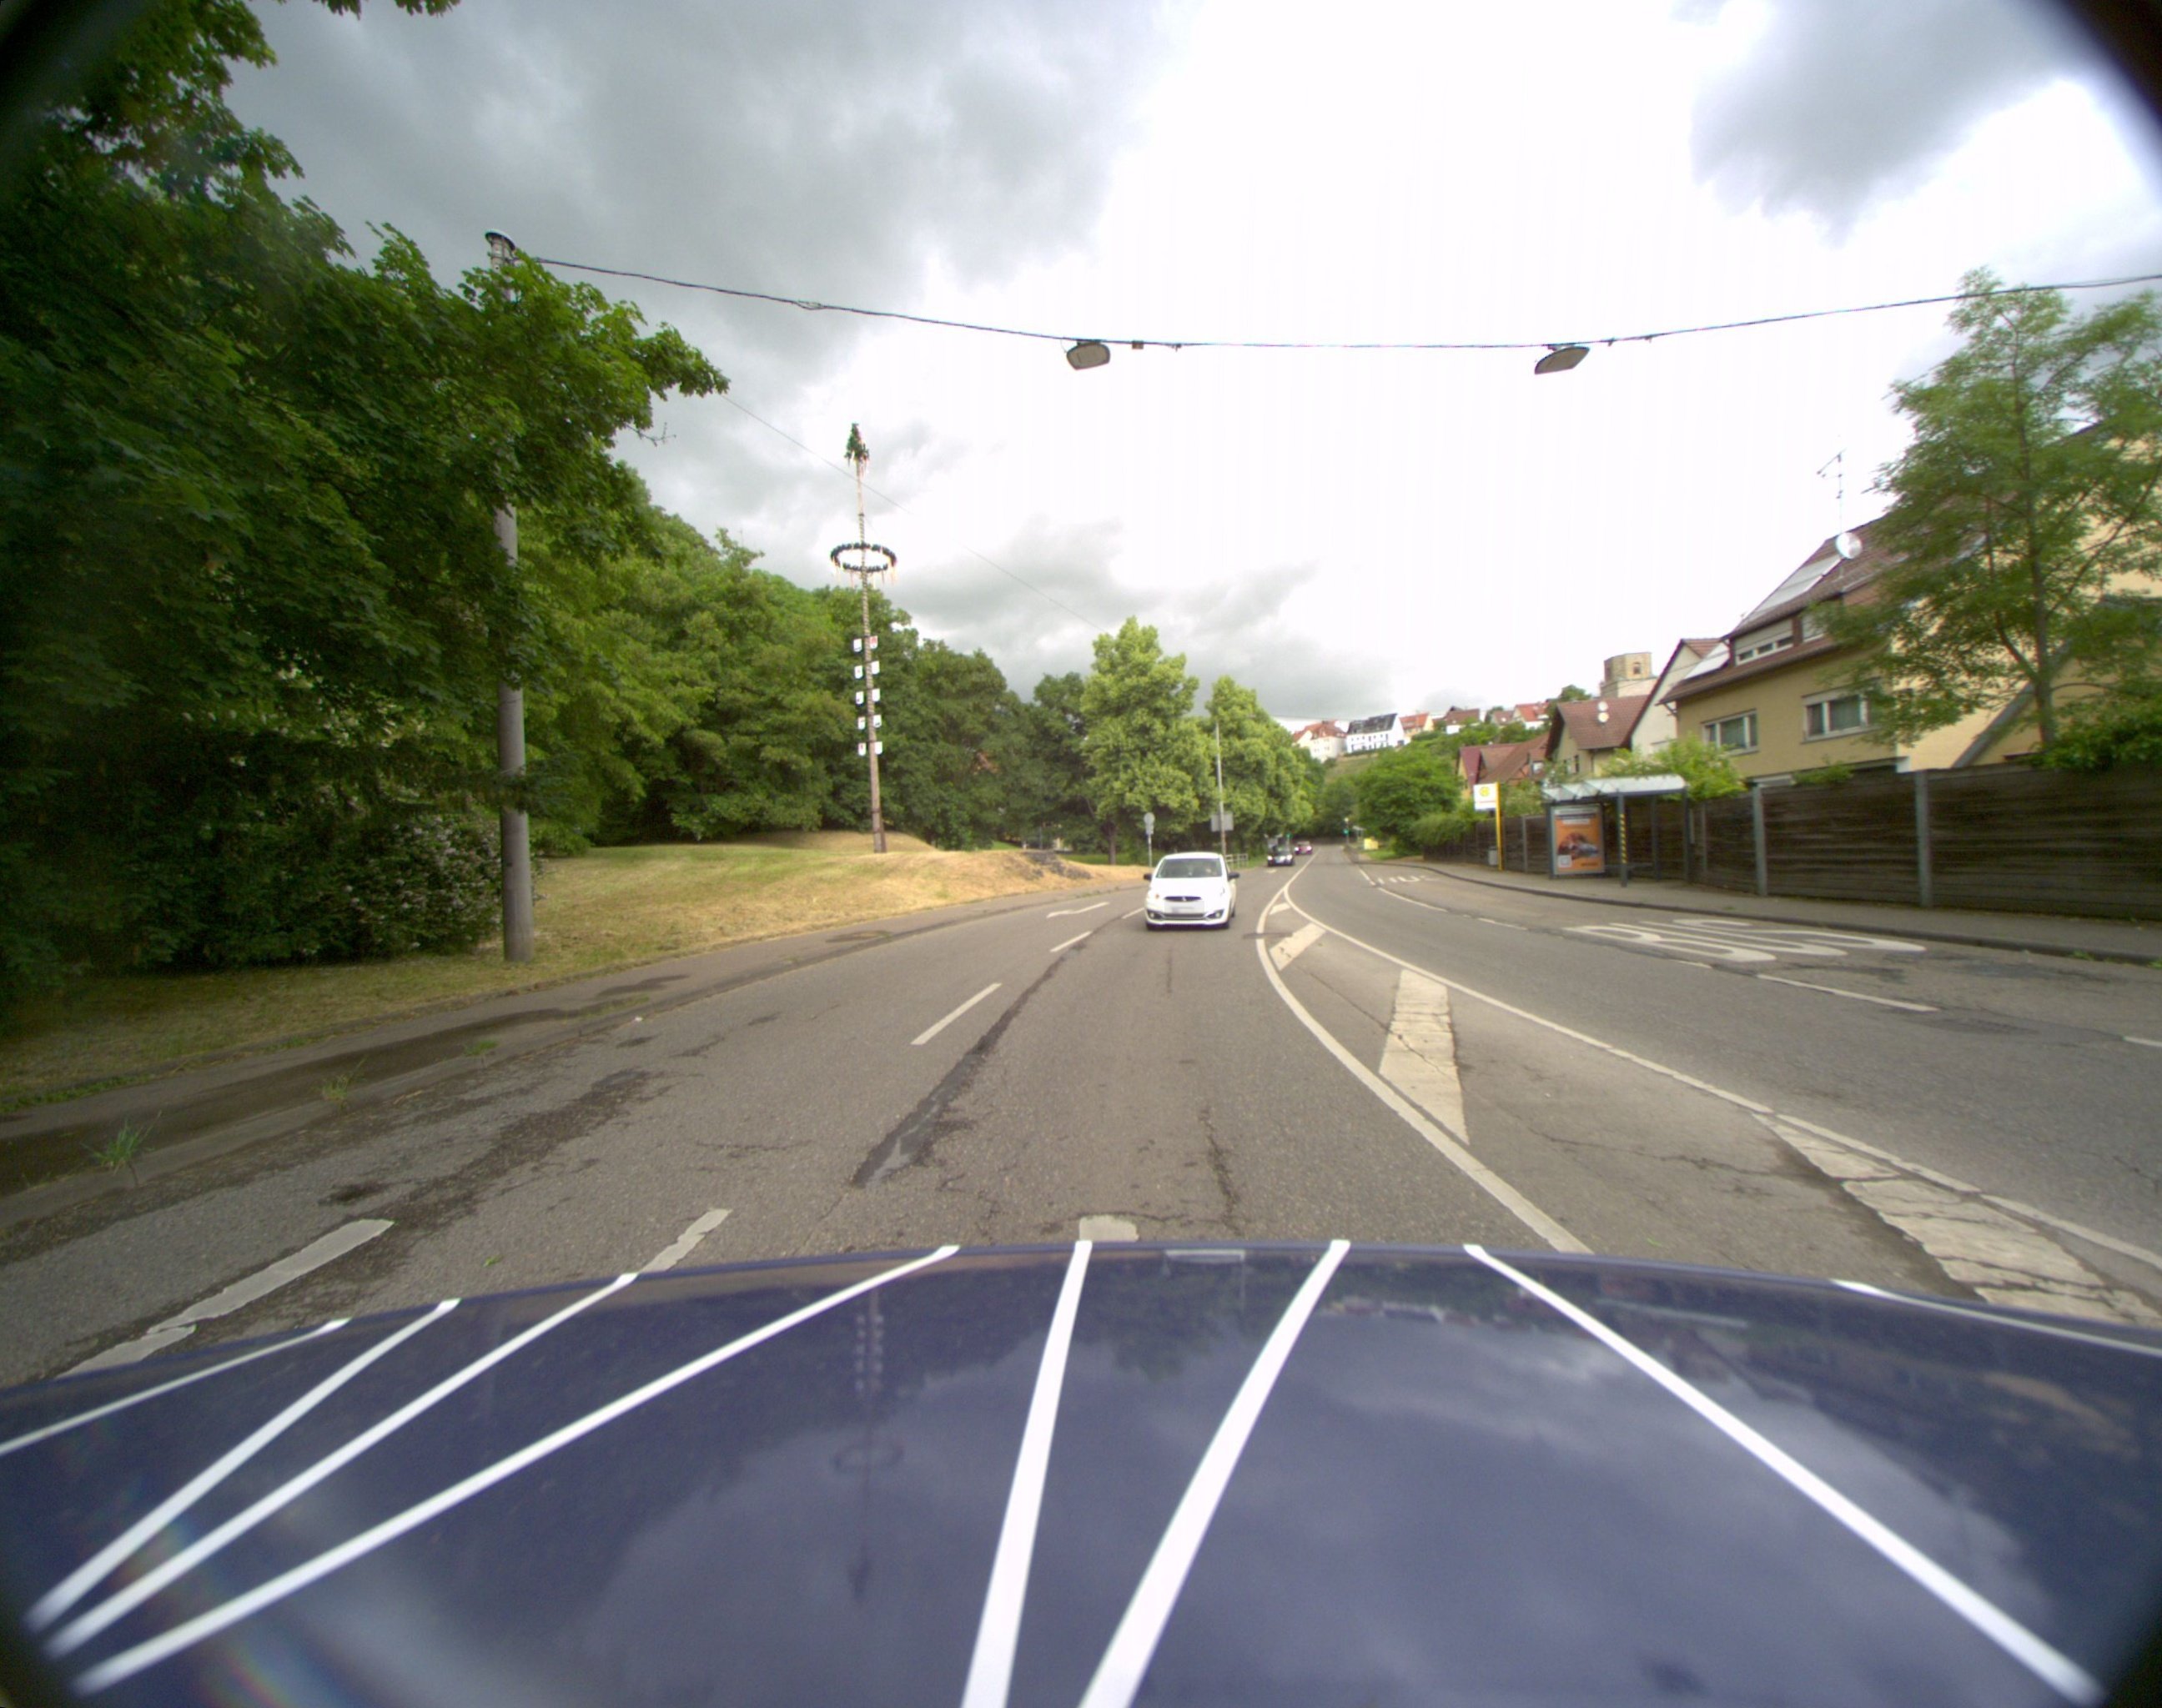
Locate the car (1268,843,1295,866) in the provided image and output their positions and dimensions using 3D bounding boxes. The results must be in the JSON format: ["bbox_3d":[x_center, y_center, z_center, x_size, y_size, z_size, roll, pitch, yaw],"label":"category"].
[{"bbox_3d":[14.465,0.015,54.708,1.722,1.539,3.786,-2,1,17],"label":"car"}]

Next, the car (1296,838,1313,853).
[{"bbox_3d":[27.069,-1.006,92.028,1.826,1.662,4.063,-2,1,19],"label":"car"}]

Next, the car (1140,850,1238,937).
[{"bbox_3d":[2.346,0.735,15.750,1.617,1.505,3.608,-2,1,13],"label":"car"}]
